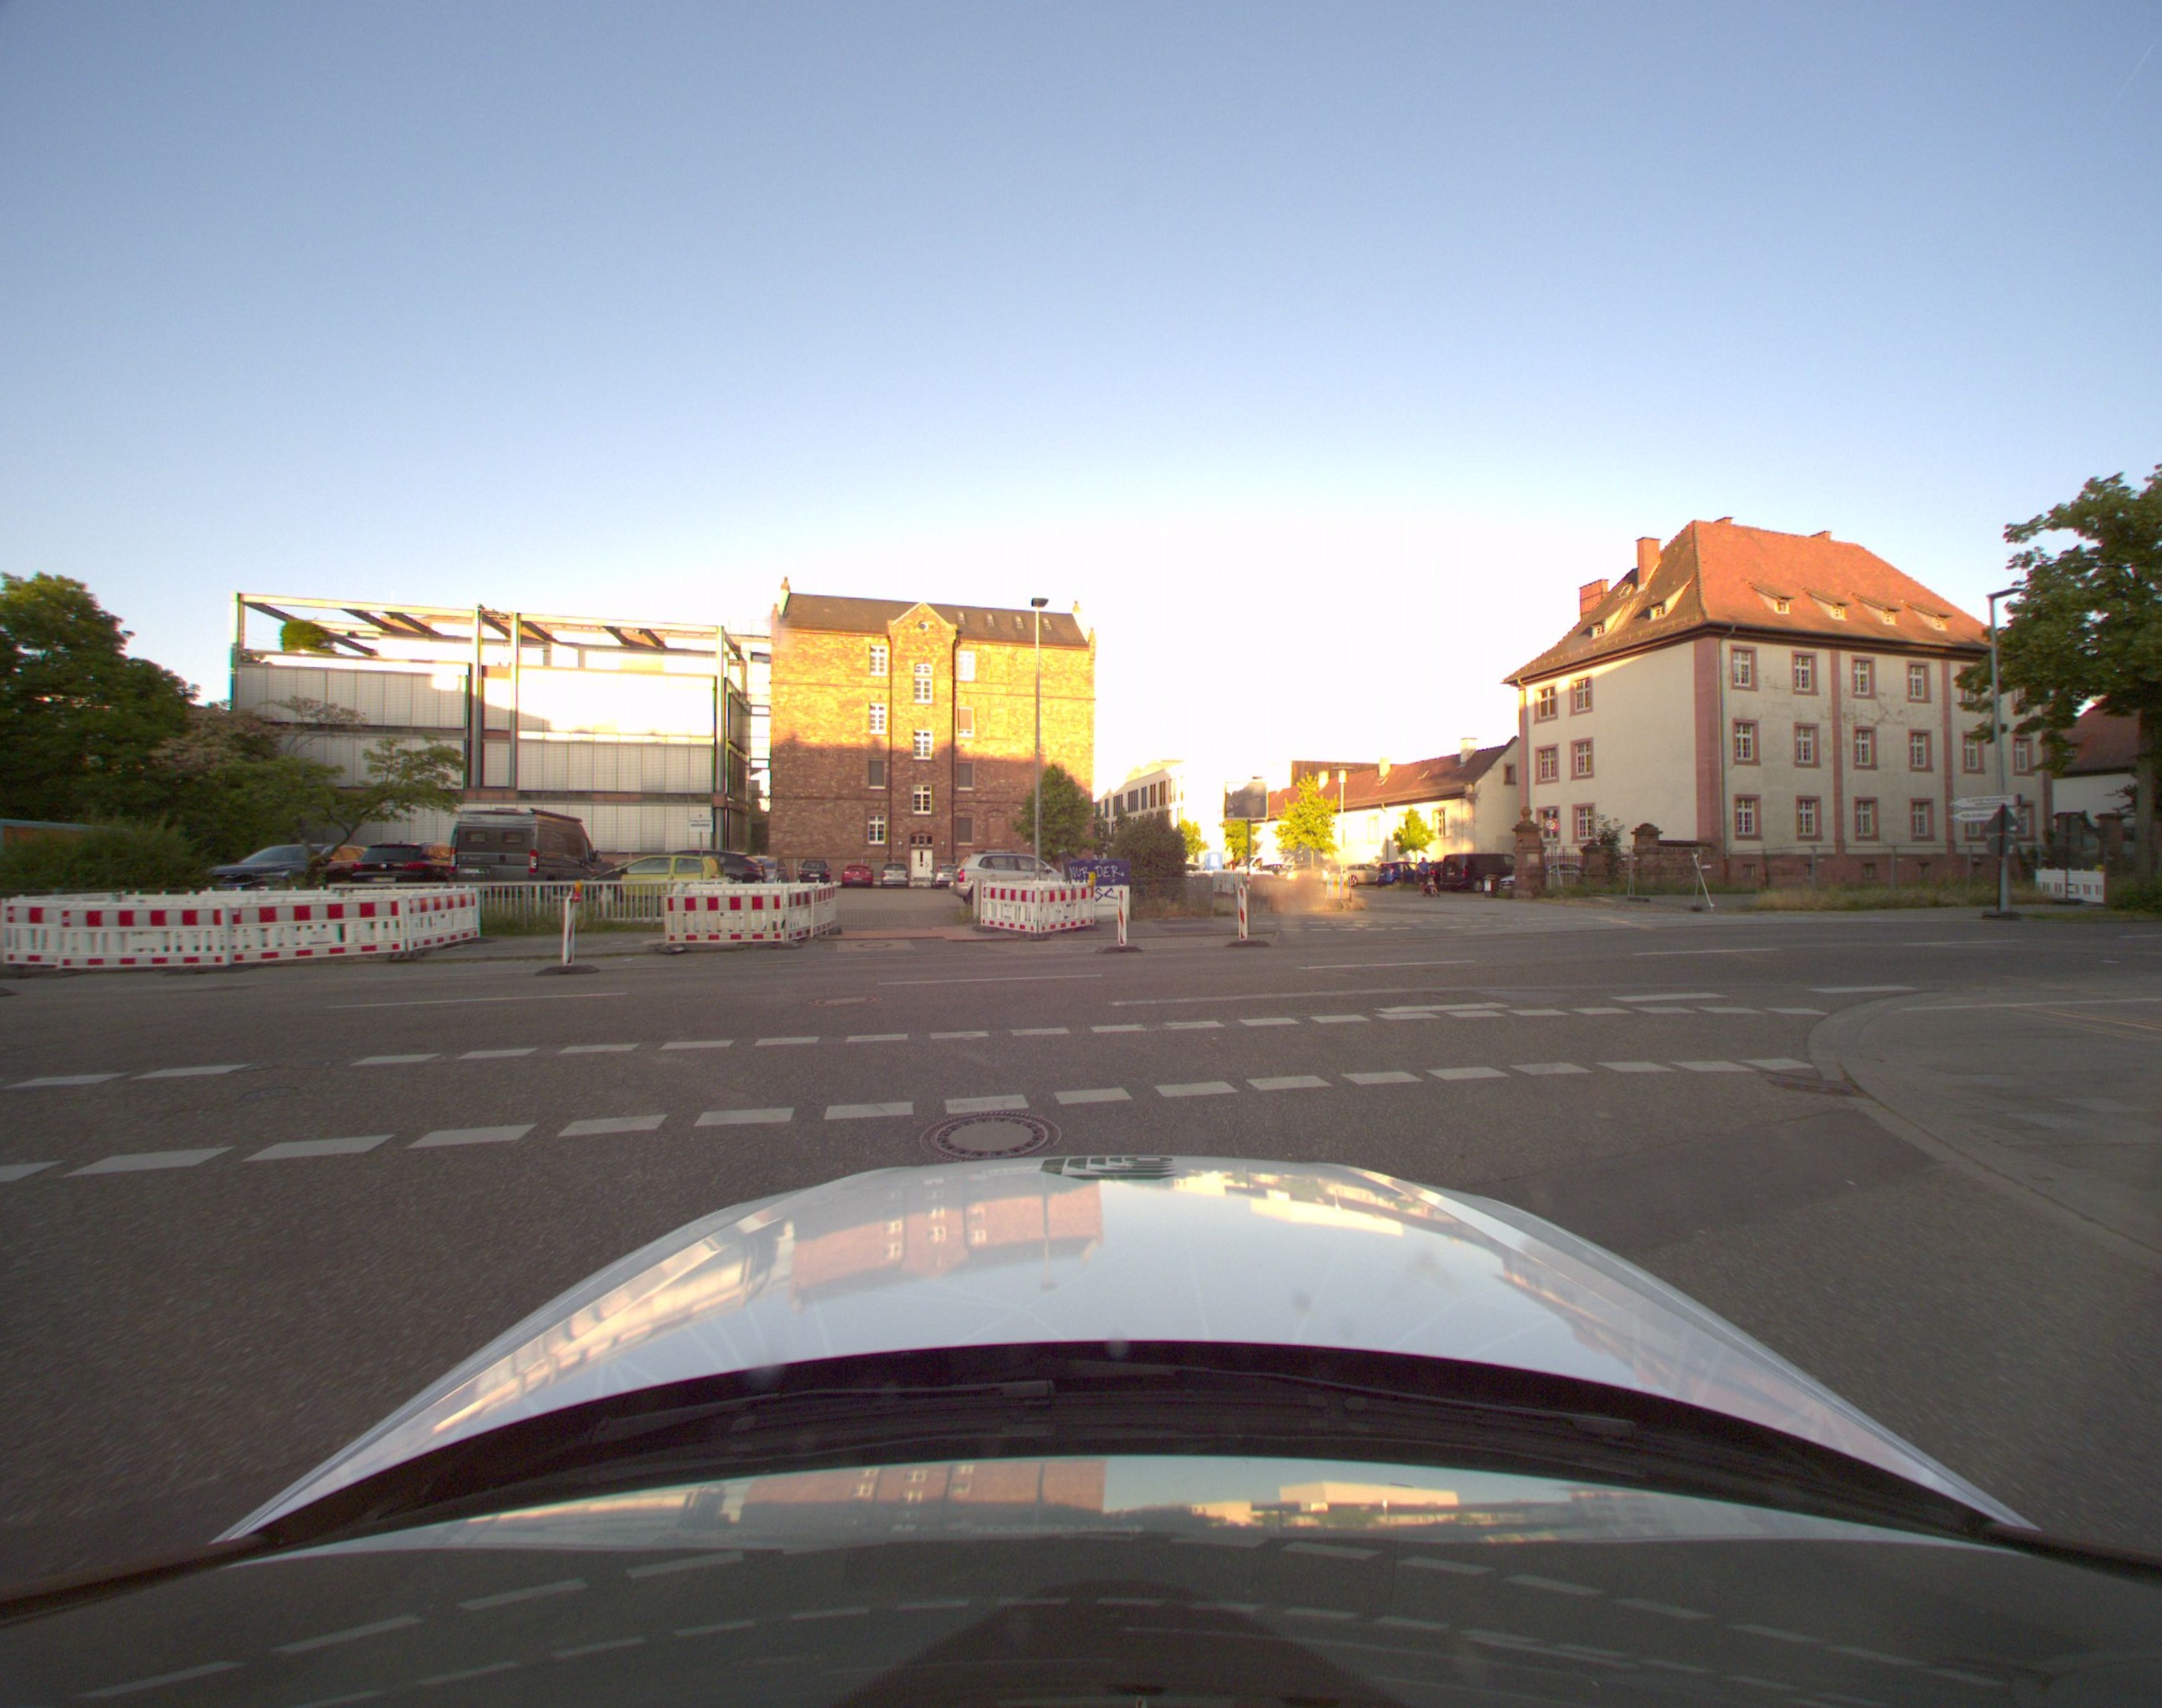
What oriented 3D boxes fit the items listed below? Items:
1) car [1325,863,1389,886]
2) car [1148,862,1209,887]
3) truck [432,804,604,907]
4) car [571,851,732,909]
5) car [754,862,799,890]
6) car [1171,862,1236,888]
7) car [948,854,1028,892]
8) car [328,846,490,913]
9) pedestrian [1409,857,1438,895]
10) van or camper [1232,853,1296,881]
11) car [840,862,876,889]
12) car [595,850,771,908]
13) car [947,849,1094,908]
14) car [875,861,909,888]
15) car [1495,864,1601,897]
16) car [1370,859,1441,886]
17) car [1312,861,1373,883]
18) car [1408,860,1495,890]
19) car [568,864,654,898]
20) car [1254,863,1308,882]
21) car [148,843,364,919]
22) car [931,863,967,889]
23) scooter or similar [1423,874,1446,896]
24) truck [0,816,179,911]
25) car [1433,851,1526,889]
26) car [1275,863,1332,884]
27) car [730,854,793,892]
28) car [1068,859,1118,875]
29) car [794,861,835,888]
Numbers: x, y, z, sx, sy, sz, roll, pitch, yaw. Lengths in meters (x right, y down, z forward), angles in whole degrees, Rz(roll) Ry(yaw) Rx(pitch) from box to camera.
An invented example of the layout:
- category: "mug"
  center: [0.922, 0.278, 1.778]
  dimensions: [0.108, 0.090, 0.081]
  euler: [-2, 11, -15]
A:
- category: "car"
  center: [18.004, 1.312, 53.164]
  dimensions: [3.750, 1.445, 1.677]
  euler: [0, -1, -18]
- category: "car"
  center: [6.517, 1.372, 54.527]
  dimensions: [3.750, 1.603, 1.677]
  euler: [0, -1, -18]
- category: "truck"
  center: [-15.827, 0.060, 23.291]
  dimensions: [2.336, 2.617, 4.950]
  euler: [0, -1, -13]
- category: "car"
  center: [-11.832, 0.684, 22.657]
  dimensions: [3.635, 1.504, 1.630]
  euler: [0, -1, -13]
- category: "car"
  center: [-17.759, 1.240, 47.663]
  dimensions: [1.899, 1.537, 4.160]
  euler: [0, -1, -13]
- category: "car"
  center: [7.800, 1.296, 51.785]
  dimensions: [3.750, 1.603, 1.677]
  euler: [0, -1, -18]
- category: "car"
  center: [-4.370, 0.883, 38.113]
  dimensions: [3.481, 1.709, 1.659]
  euler: [0, -1, -15]
- category: "car"
  center: [-18.487, 0.654, 22.664]
  dimensions: [1.997, 1.692, 3.978]
  euler: [0, -1, -16]
- category: "pedestrian"
  center: [15.151, 0.976, 36.029]
  dimensions: [0.750, 1.642, 1.010]
  euler: [0, -1, -13]
- category: "van or camper"
  center: [14.995, 1.043, 66.829]
  dimensions: [4.975, 2.241, 1.677]
  euler: [0, -1, -18]
- category: "car"
  center: [-13.185, 1.230, 48.327]
  dimensions: [1.899, 1.537, 4.160]
  euler: [0, -1, -13]
- category: "car"
  center: [-12.074, 0.735, 24.990]
  dimensions: [4.587, 1.638, 1.568]
  euler: [0, -1, -13]
- category: "car"
  center: [-1.877, 0.715, 24.993]
  dimensions: [4.277, 1.709, 1.694]
  euler: [0, -1, -15]
- category: "car"
  center: [-11.337, 1.192, 48.900]
  dimensions: [1.899, 1.537, 4.160]
  euler: [0, -1, -13]
- category: "car"
  center: [21.125, 1.174, 36.873]
  dimensions: [3.997, 1.459, 1.988]
  euler: [0, -1, -18]
- category: "car"
  center: [19.410, 1.100, 48.716]
  dimensions: [3.750, 1.529, 1.677]
  euler: [0, -1, -18]
- category: "car"
  center: [17.873, 1.237, 55.696]
  dimensions: [3.750, 1.445, 1.677]
  euler: [0, -1, -18]
- category: "car"
  center: [20.058, 1.117, 44.084]
  dimensions: [3.997, 1.573, 1.988]
  euler: [0, -1, -18]
- category: "car"
  center: [-19.654, 1.093, 34.290]
  dimensions: [1.942, 1.306, 4.344]
  euler: [0, -1, -13]
- category: "car"
  center: [15.587, 1.402, 63.457]
  dimensions: [3.750, 1.445, 1.677]
  euler: [0, -1, -18]
- category: "car"
  center: [-20.869, 0.641, 20.912]
  dimensions: [1.997, 1.727, 4.277]
  euler: [0, -1, -16]
- category: "car"
  center: [-8.108, 1.304, 49.667]
  dimensions: [1.899, 1.537, 4.160]
  euler: [0, -1, -13]
- category: "scooter or similar"
  center: [15.205, 1.329, 35.065]
  dimensions: [0.514, 0.890, 0.802]
  euler: [0, -1, -13]
- category: "truck"
  center: [-25.323, 0.250, 19.852]
  dimensions: [2.106, 2.091, 4.496]
  euler: [0, -1, -10]
- category: "car"
  center: [20.262, 0.818, 41.474]
  dimensions: [3.997, 1.859, 1.988]
  euler: [0, -1, -18]
- category: "car"
  center: [16.243, 1.417, 59.417]
  dimensions: [3.750, 1.445, 1.677]
  euler: [0, -1, -18]
- category: "car"
  center: [-14.243, 0.811, 36.541]
  dimensions: [1.996, 1.576, 4.344]
  euler: [0, -1, -13]
- category: "car"
  center: [1.049, 1.143, 70.467]
  dimensions: [3.994, 1.313, 1.868]
  euler: [0, -1, -15]
- category: "car"
  center: [-15.716, 1.185, 48.191]
  dimensions: [1.899, 1.537, 4.160]
  euler: [0, -1, -13]
